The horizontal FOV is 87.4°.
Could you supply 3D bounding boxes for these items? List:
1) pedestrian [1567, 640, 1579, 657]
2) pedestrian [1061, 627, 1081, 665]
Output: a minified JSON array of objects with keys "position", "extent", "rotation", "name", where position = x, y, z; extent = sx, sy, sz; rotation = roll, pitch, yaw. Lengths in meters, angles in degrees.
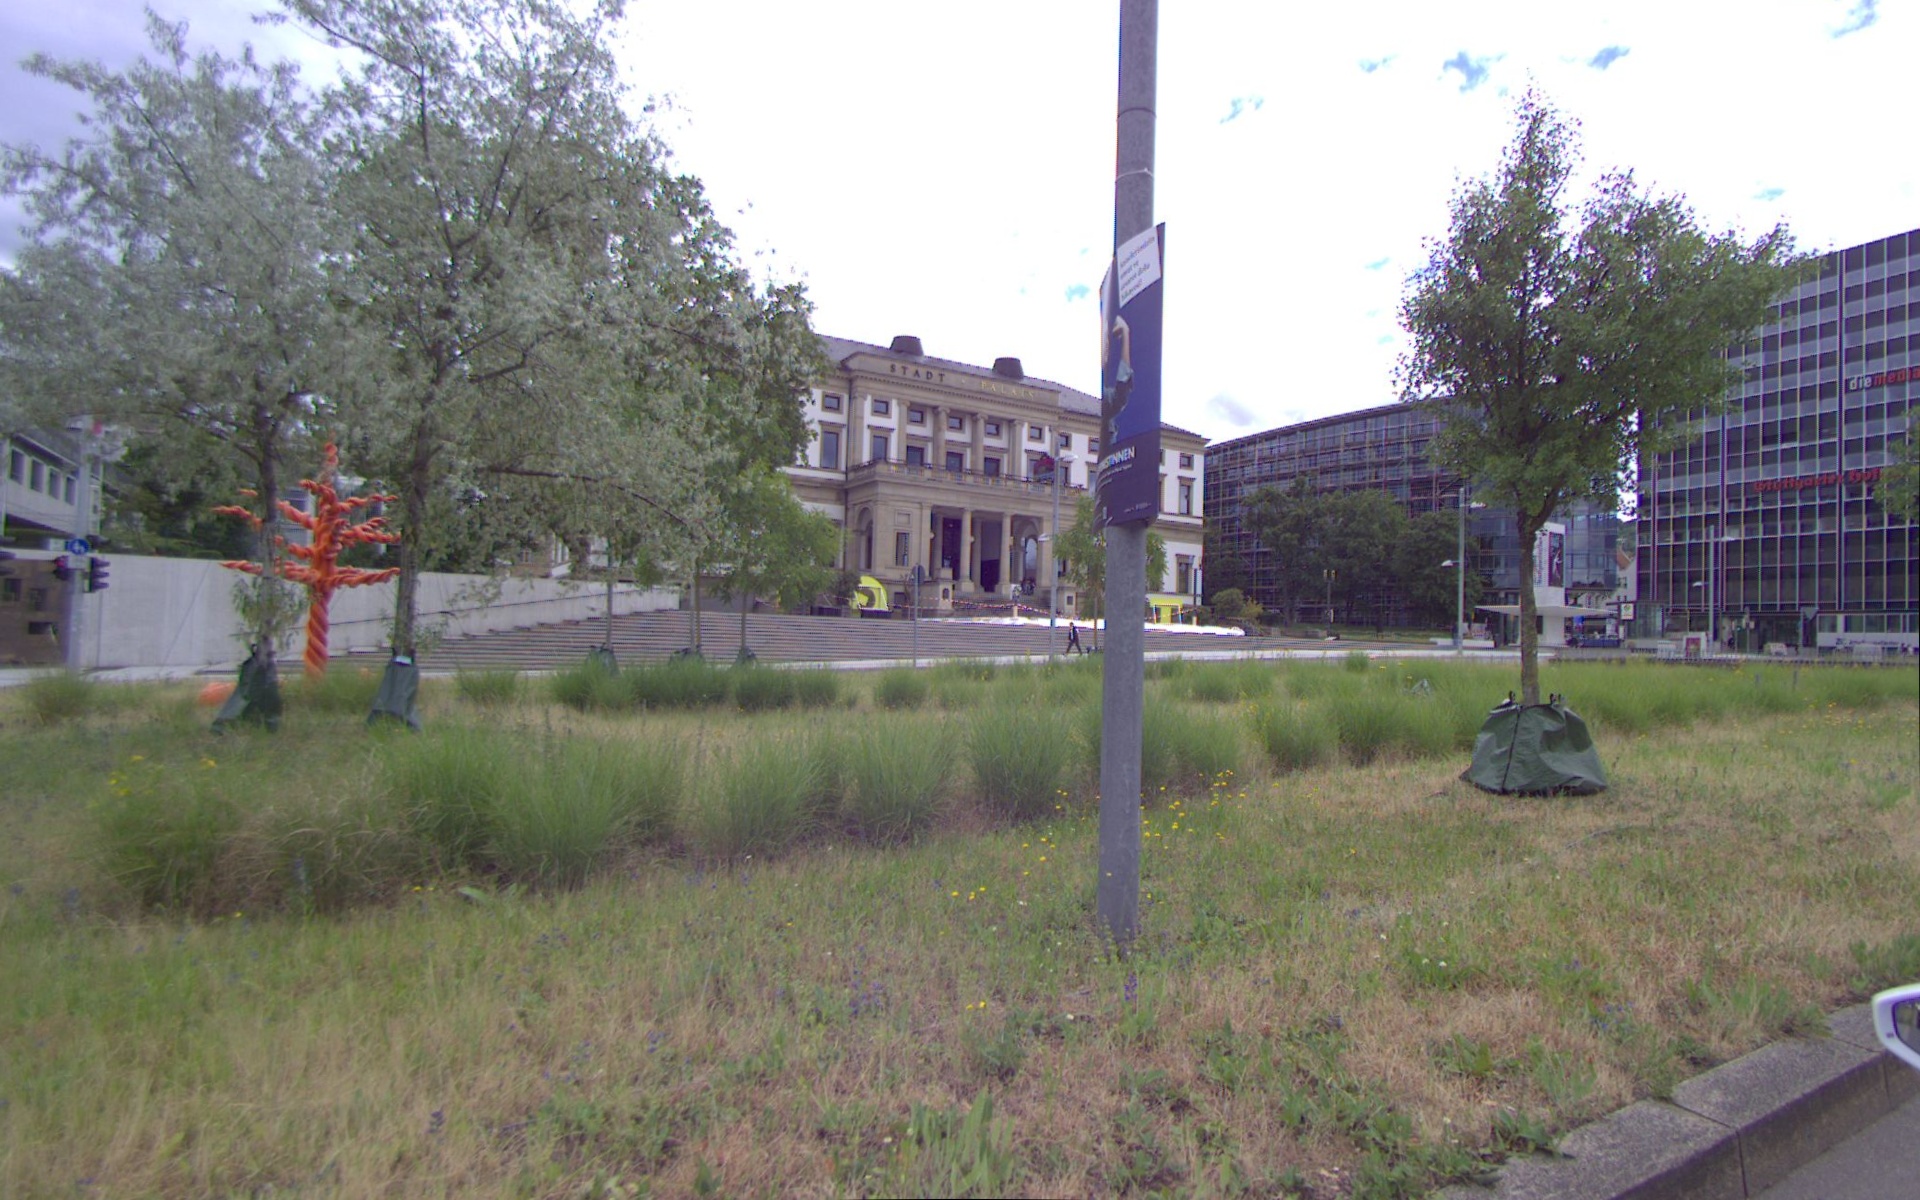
[{"position":[40.707,3.223,66.687],"extent":[0.553,1.095,0.472],"rotation":[2,0,-29],"name":"pedestrian"},{"position":[4.984,2.055,45.106],"extent":[0.643,1.671,0.521],"rotation":[2,0,-32],"name":"pedestrian"}]
